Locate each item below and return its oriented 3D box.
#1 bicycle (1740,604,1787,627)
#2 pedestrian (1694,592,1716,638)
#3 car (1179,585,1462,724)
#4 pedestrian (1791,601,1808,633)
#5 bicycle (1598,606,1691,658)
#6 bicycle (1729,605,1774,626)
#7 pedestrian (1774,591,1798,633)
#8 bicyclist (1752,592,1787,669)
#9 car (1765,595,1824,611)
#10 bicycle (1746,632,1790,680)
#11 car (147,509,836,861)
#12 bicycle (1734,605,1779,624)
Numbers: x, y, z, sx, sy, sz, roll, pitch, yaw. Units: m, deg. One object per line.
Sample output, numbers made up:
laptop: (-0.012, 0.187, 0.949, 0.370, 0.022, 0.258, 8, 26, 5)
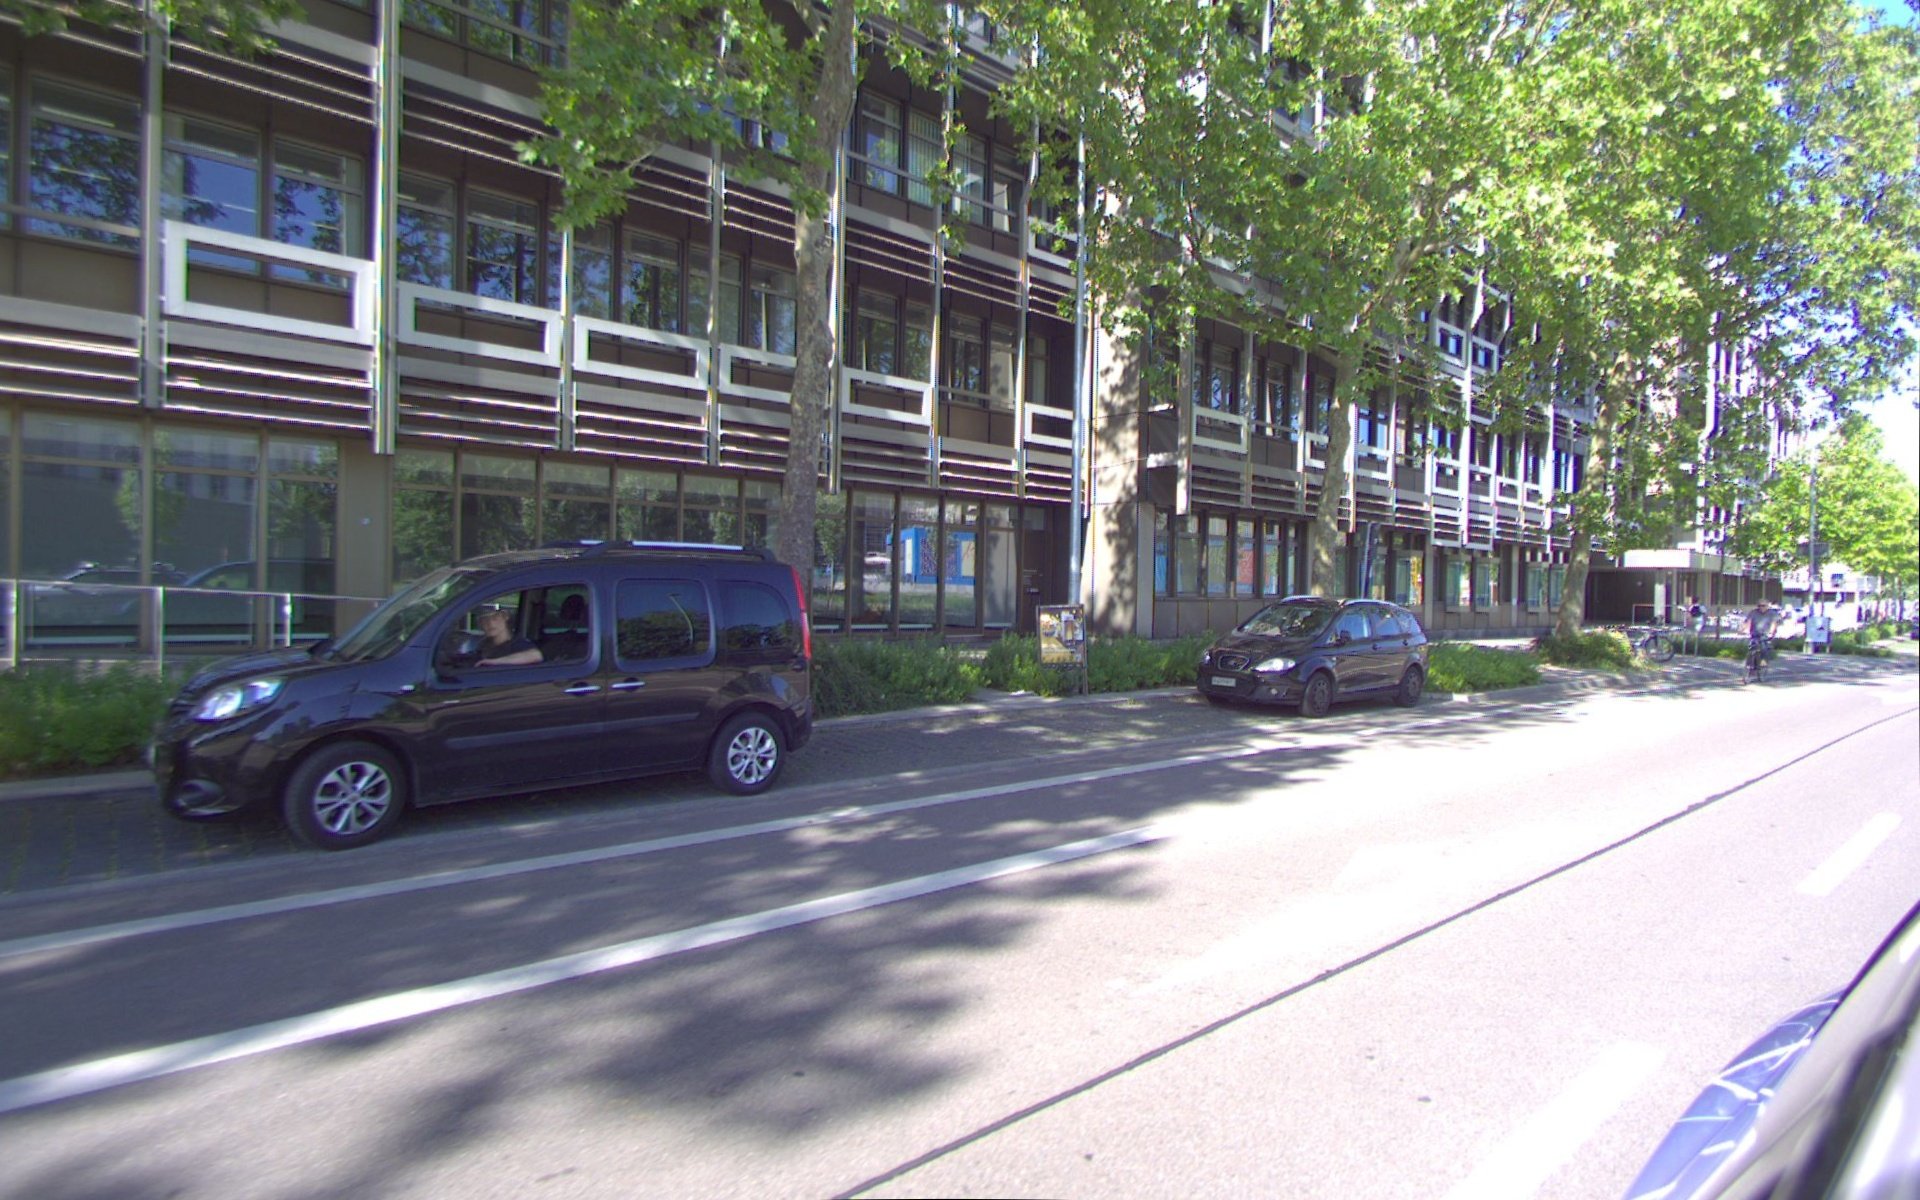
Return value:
bicycle: (42.667, 0.815, 53.733, 0.419, 1.111, 1.863, 1, 3, -39)
pedestrian: (27.920, 0.556, 37.921, 0.760, 1.722, 0.511, 1, 0, -41)
car: (5.344, 0.690, 14.705, 4.552, 1.663, 1.708, 1, 2, -39)
pedestrian: (39.431, 0.778, 47.549, 0.723, 1.493, 0.511, 1, 0, -41)
bicycle: (18.344, 0.831, 27.156, 0.569, 1.252, 1.939, 1, 2, -43)
bicycle: (43.212, 0.841, 55.290, 0.419, 1.023, 1.863, 1, 3, -39)
pedestrian: (34.409, 0.492, 42.143, 0.789, 1.750, 0.648, 1, 0, -41)
bicyclist: (17.238, 0.637, 21.547, 0.513, 1.621, 0.528, 1, 0, 45)
car: (84.099, 0.278, 102.036, 4.377, 1.563, 1.831, 1, 1, 34)
bicycle: (17.088, 1.156, 21.381, 0.497, 0.917, 2.161, -1, -1, 44)
car: (-3.105, 0.409, 7.199, 4.118, 1.812, 1.708, 1, 2, -41)
bicycle: (44.093, 0.796, 56.032, 0.419, 0.950, 1.863, 1, 3, -39)
